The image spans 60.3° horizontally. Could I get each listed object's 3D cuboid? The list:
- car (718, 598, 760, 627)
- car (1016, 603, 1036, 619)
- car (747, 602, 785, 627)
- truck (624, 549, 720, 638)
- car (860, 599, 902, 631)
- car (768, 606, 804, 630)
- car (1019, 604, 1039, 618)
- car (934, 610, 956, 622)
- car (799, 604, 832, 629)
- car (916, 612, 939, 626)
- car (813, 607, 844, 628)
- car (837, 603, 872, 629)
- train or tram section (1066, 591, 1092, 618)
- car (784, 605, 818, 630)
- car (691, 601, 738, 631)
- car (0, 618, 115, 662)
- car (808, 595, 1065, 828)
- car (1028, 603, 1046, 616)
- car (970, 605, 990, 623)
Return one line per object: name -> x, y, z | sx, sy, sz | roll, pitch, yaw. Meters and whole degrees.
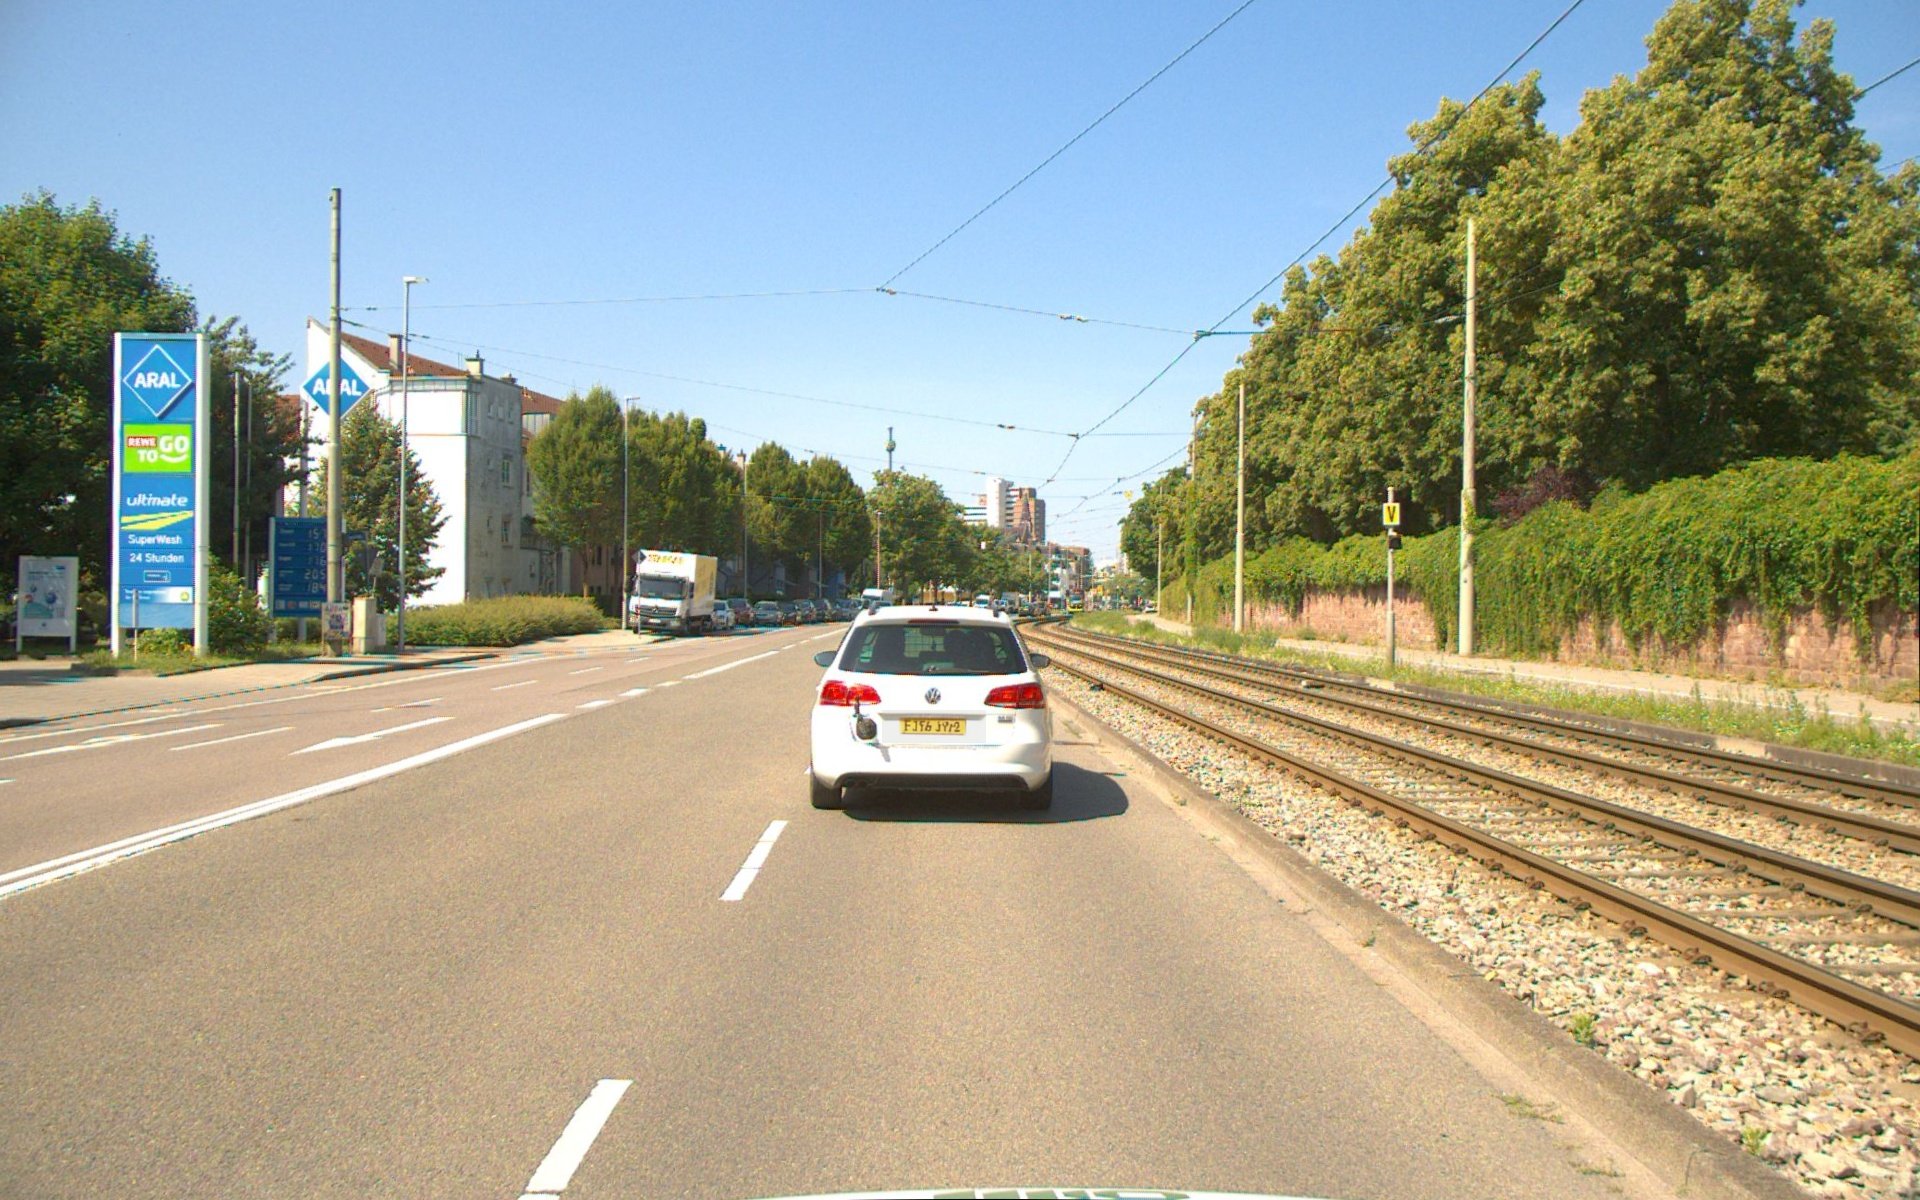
car -> -12.348, 0.693, 92.648 | 1.695, 1.579, 4.318 | 1, 0, 0
car -> 6.893, 1.151, 172.739 | 1.762, 1.534, 4.003 | 1, 0, 7
car -> -12.094, 0.914, 103.435 | 1.744, 1.509, 4.857 | 2, -1, 1
truck -> -12.492, -0.263, 72.429 | 2.612, 3.592, 8.589 | 2, 0, 0
car -> -4.025, 0.766, 84.832 | 1.763, 1.533, 4.002 | 1, 1, 3
car -> -11.567, 1.158, 109.955 | 1.687, 1.500, 4.716 | 2, 0, 2
car -> 7.488, 1.193, 179.060 | 1.762, 1.486, 4.003 | 1, 0, 7
car -> -1.701, 1.851, 188.822 | 1.663, 1.376, 4.003 | 0, -1, 11
car -> -10.593, 1.219, 121.446 | 1.732, 1.753, 4.871 | 2, 0, 3
car -> -3.470, 1.982, 175.902 | 1.663, 1.442, 4.003 | 0, -1, 11
car -> -10.099, 1.346, 126.910 | 1.655, 1.500, 4.051 | 3, 0, 5
car -> -8.741, 1.319, 137.651 | 1.879, 1.982, 5.358 | 3, 0, 7
train or tram section -> 17.229, 0.683, 238.274 | 2.457, 3.813, 13.321 | 0, 0, 10
car -> -11.126, 1.225, 115.924 | 1.681, 1.653, 4.314 | 2, 0, 4
car -> -12.559, 0.810, 84.815 | 1.721, 1.454, 4.281 | 2, 0, 0
car -> -31.854, 1.387, 58.204 | 3.522, 1.510, 1.662 | 0, 0, 12
car -> -0.223, 0.730, 13.088 | 1.657, 1.476, 4.457 | 1, 0, -2
car -> 8.664, 1.091, 186.401 | 1.762, 1.486, 4.003 | 0, 0, 7
car -> 2.751, 1.856, 222.811 | 1.840, 2.458, 5.120 | 0, -1, 11
